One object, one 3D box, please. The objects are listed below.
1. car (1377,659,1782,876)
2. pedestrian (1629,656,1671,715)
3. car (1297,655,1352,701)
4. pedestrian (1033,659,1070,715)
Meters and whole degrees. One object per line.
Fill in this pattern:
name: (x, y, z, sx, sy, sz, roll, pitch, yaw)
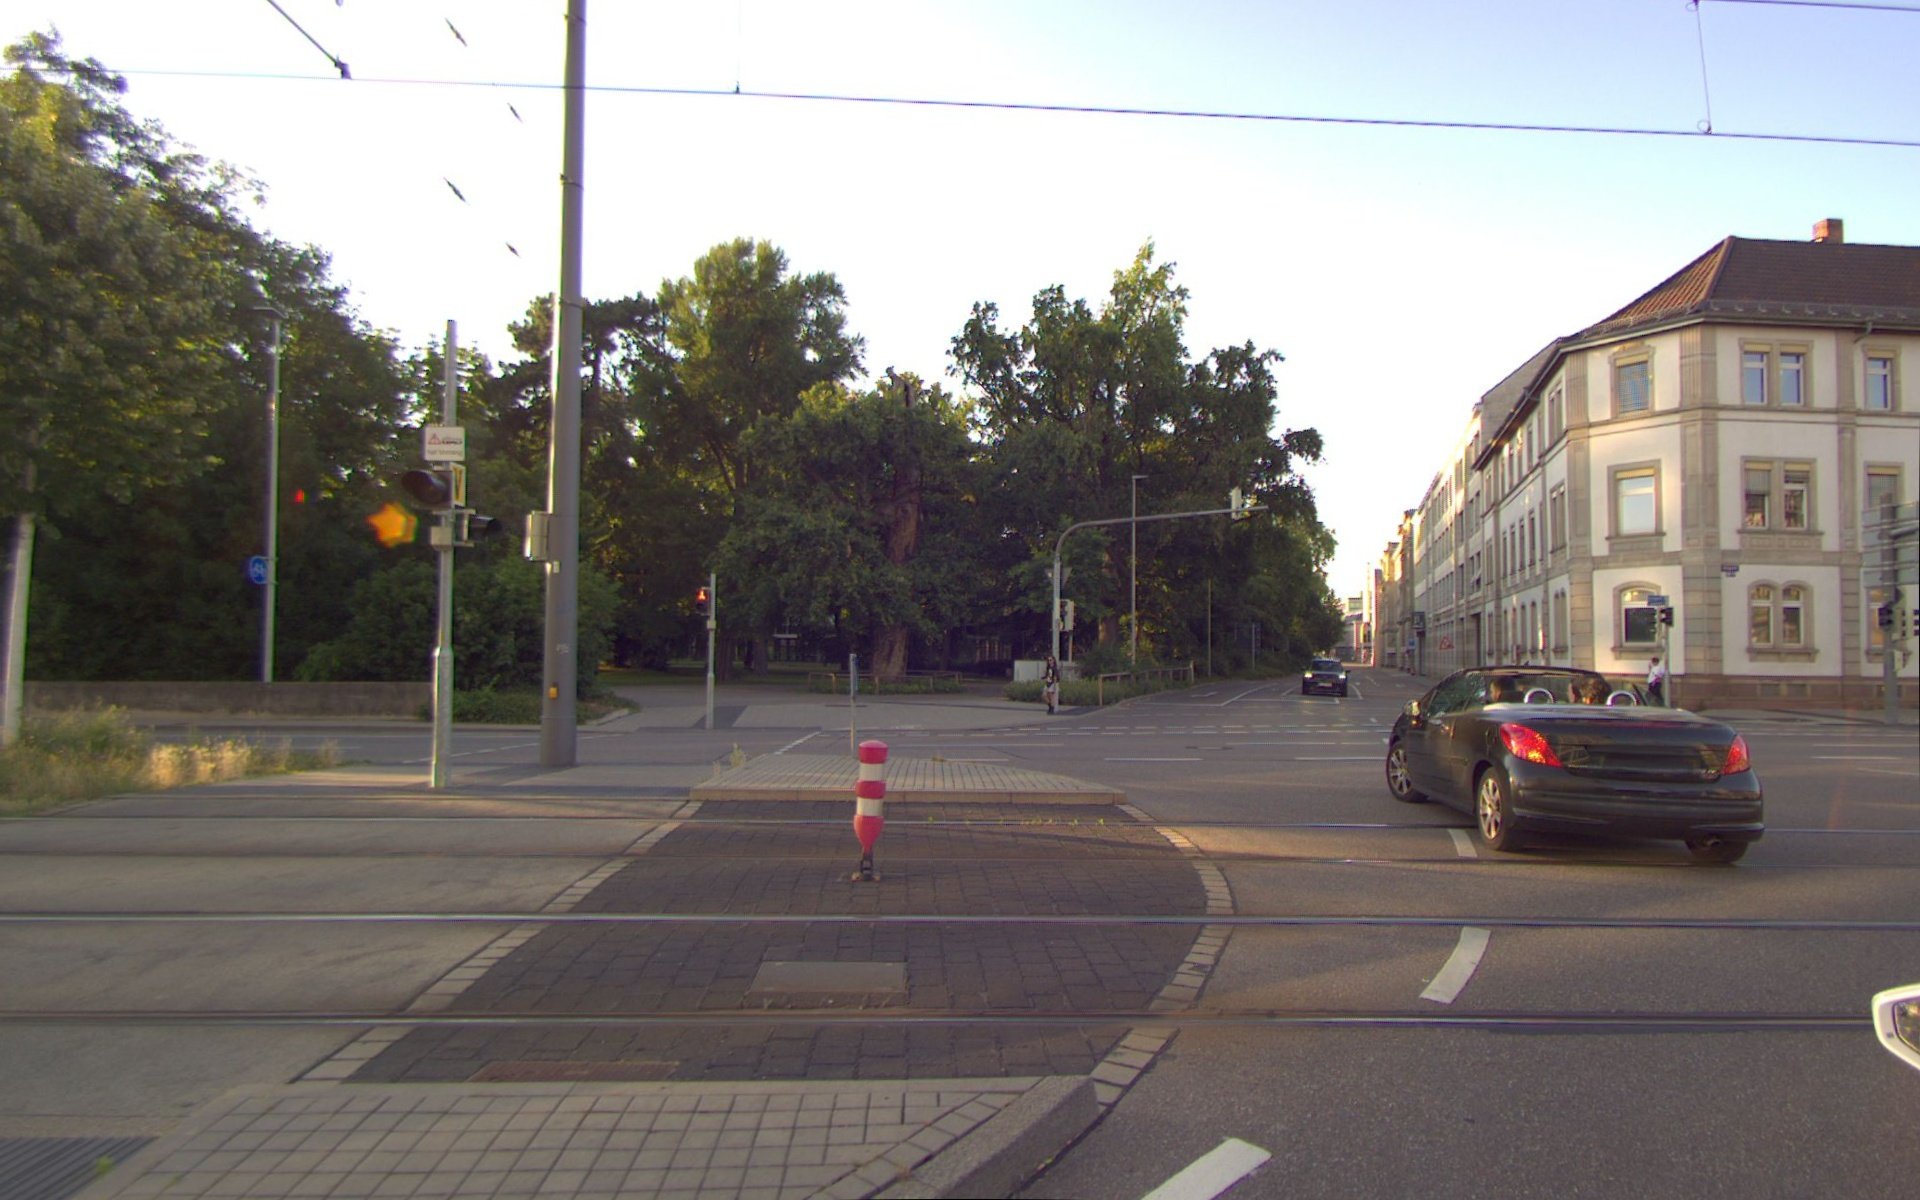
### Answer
car: (4.954, 1.225, 8.729, 1.645, 1.369, 4.004, 1, -3, 10)
pedestrian: (21.172, 2.621, 30.823, 0.693, 1.738, 0.809, 0, 0, -18)
car: (14.986, 3.139, 41.160, 1.756, 1.576, 3.996, 0, -1, 25)
pedestrian: (2.467, 2.340, 27.116, 0.918, 1.478, 0.605, 0, 0, -4)
